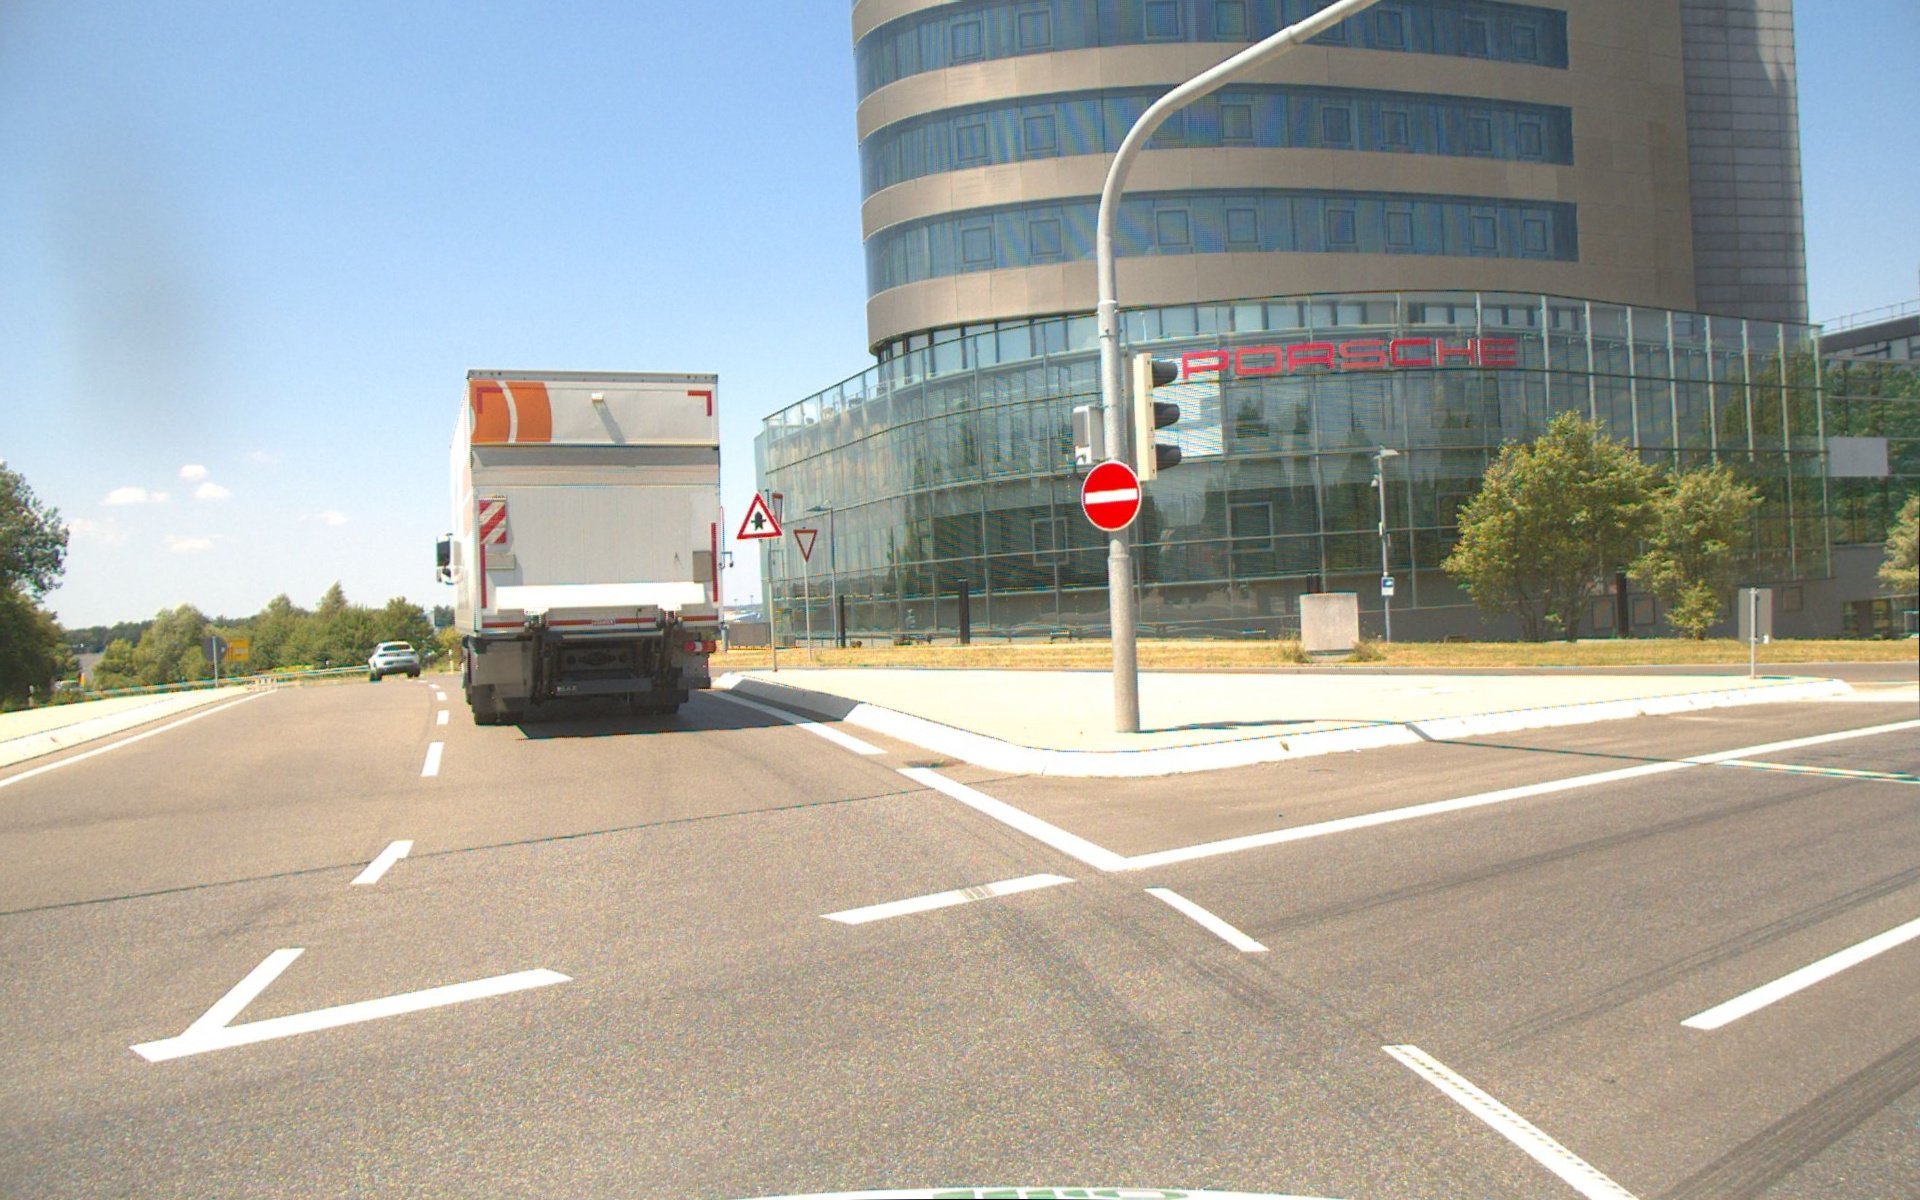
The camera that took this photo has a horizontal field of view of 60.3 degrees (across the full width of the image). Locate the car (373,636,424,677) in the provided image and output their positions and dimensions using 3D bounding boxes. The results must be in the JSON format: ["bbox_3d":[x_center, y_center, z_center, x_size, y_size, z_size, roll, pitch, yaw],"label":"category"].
[{"bbox_3d":[-23.944,2.382,70.433,1.778,1.584,3.972,-1,0,-23],"label":"car"}]

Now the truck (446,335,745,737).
[{"bbox_3d":[-4.999,-0.539,21.022,2.727,3.927,9.320,-1,-1,-18],"label":"truck"}]
